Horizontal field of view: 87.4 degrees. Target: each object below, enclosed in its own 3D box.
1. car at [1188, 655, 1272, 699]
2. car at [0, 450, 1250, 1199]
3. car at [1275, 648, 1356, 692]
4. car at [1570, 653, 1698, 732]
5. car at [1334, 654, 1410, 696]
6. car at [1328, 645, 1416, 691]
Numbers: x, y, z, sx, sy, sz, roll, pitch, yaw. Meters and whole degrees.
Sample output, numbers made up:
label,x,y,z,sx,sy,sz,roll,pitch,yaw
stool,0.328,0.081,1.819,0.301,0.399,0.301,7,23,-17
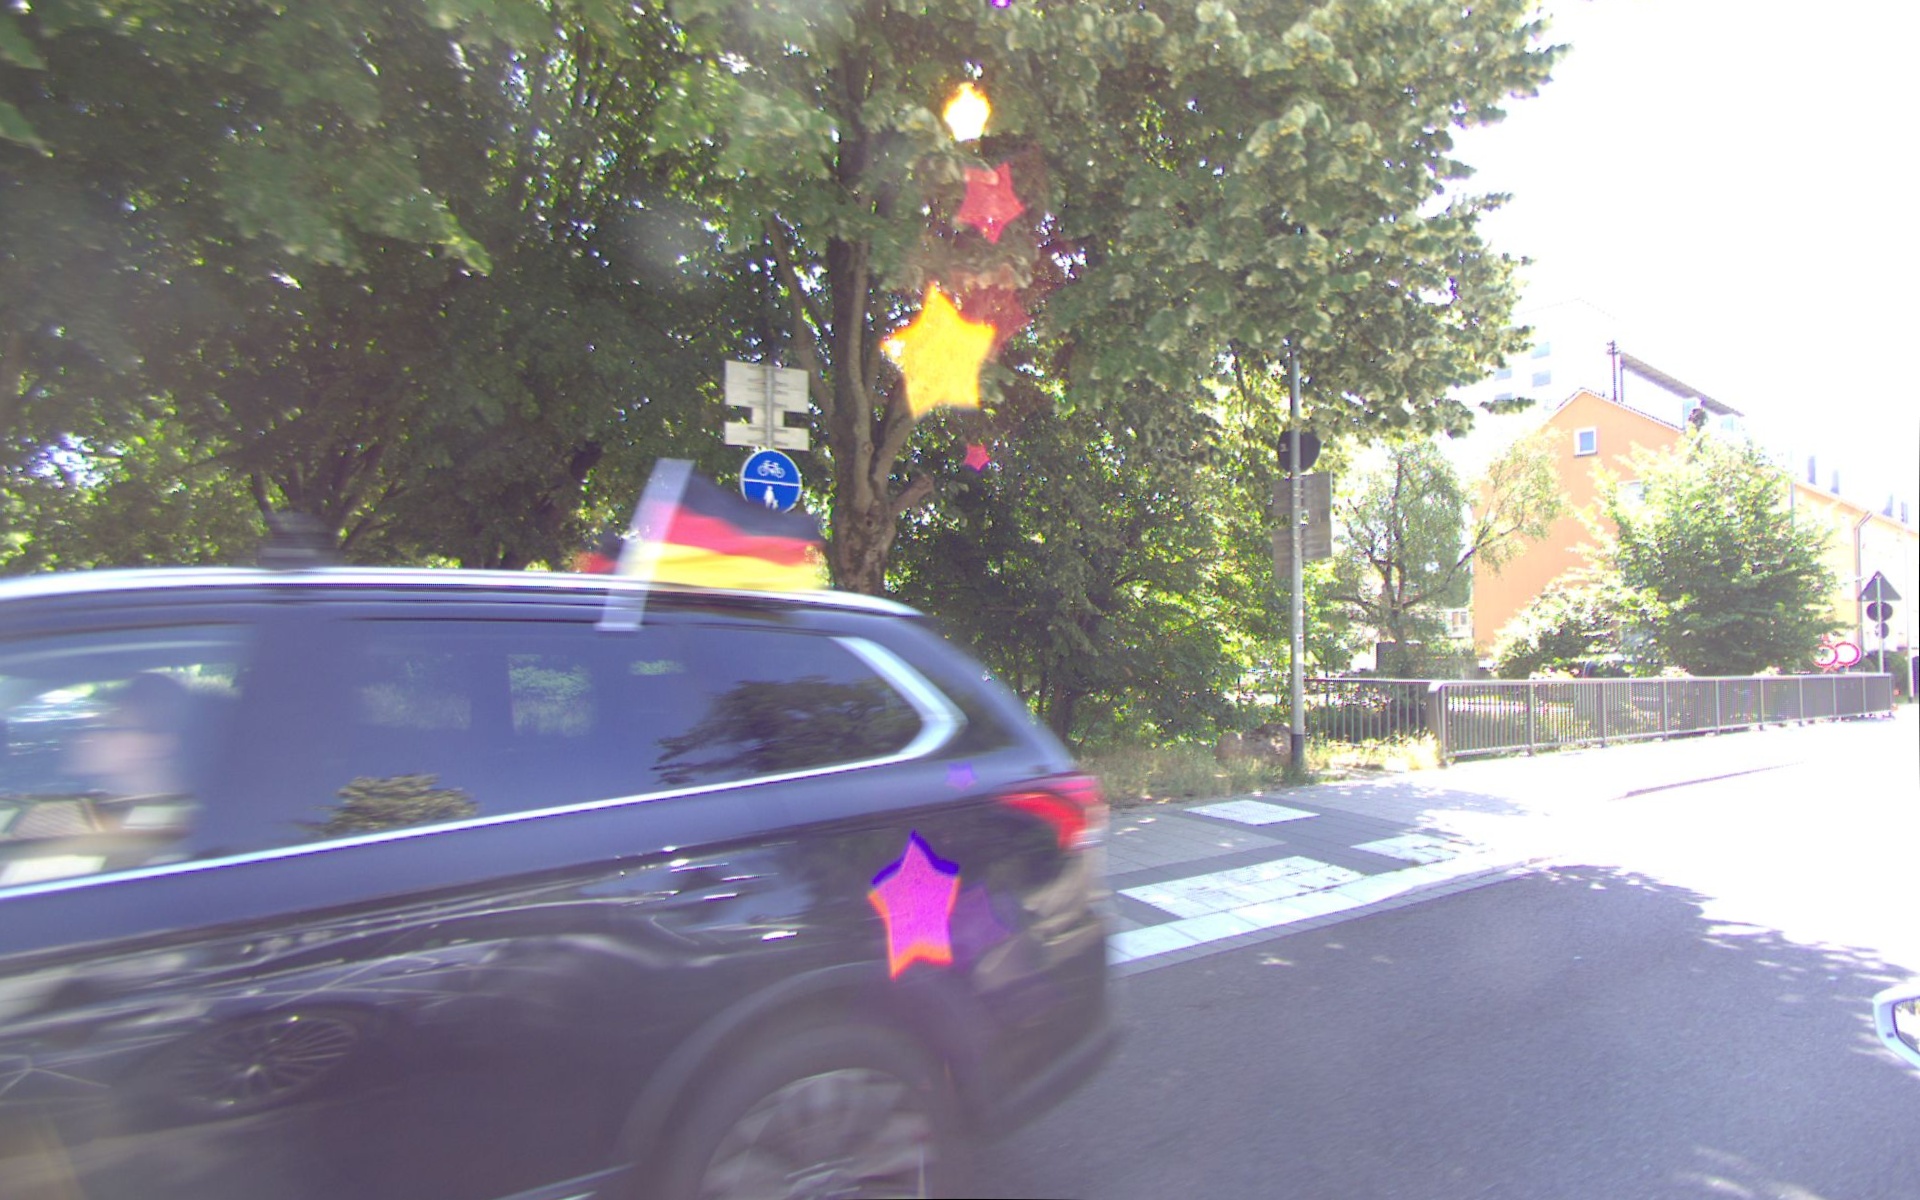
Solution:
label,x,y,z,sx,sy,sz,roll,pitch,yaw
car,13.085,3.703,48.580,3.966,2.040,1.978,3,-4,-39
car,-1.514,0.743,2.382,4.287,1.795,1.733,1,-5,-31
car,17.410,3.393,49.179,3.966,2.040,1.978,3,-4,-39
car,19.479,2.584,28.986,3.966,2.040,1.978,1,-3,-39
car,21.277,3.833,51.862,3.966,2.040,1.978,3,-4,-39
car,19.091,3.117,46.540,3.961,2.040,1.981,2,-3,-36
